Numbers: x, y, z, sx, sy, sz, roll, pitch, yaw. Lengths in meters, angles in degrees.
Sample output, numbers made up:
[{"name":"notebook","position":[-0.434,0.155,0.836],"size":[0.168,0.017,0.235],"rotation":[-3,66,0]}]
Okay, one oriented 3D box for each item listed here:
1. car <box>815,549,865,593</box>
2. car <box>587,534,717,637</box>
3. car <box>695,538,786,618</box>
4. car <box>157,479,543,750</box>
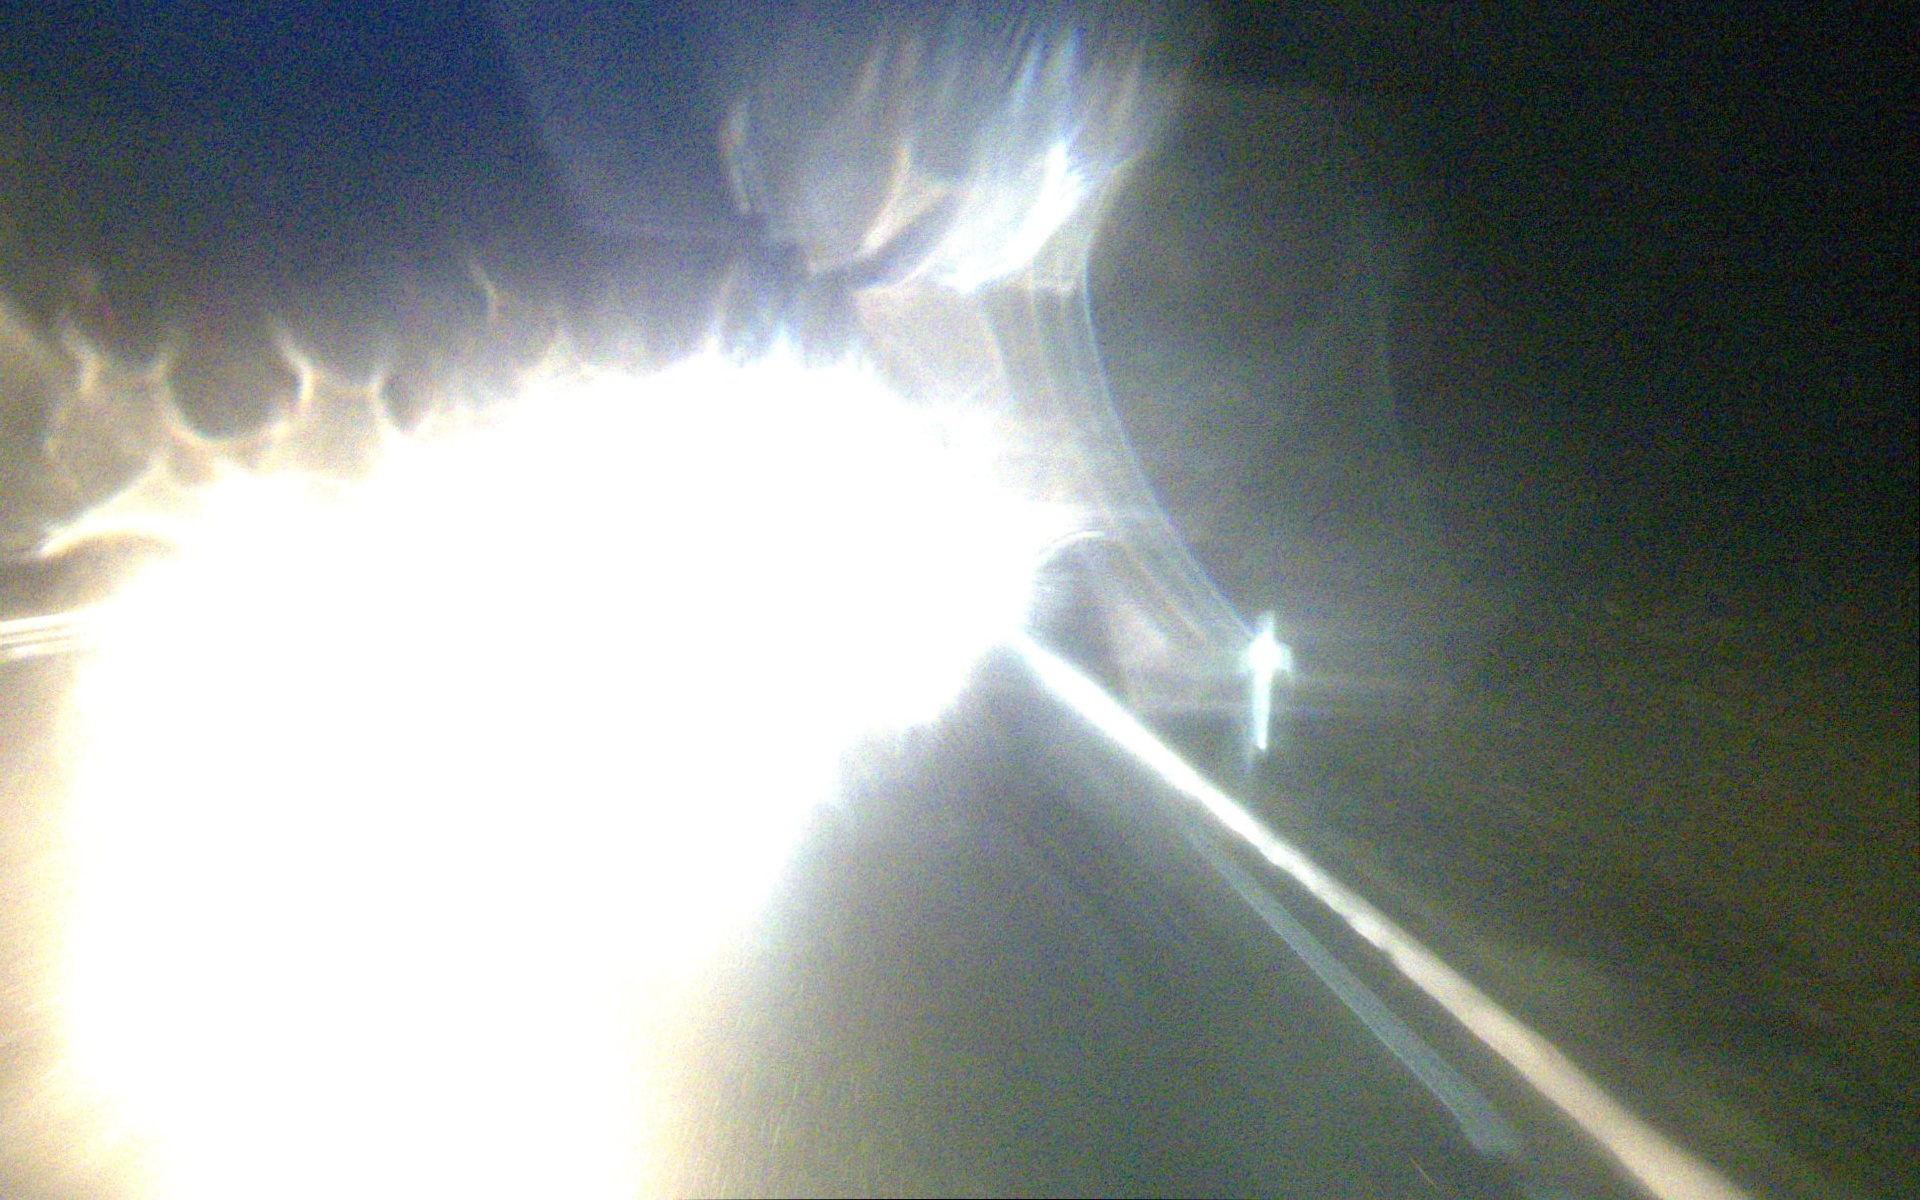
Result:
[{"name":"car","position":[-4.305,-1.043,123.623],"size":[1.716,1.512,3.878],"rotation":[1,1,-1]},{"name":"car","position":[-4.445,-0.241,49.985],"size":[1.644,1.420,3.659],"rotation":[1,1,-2]},{"name":"car","position":[-4.315,-0.459,68.017],"size":[1.644,1.420,4.124],"rotation":[3,1,-3]},{"name":"car","position":[-3.985,0.023,23.195],"size":[1.808,1.594,4.632],"rotation":[2,2,-1]}]
